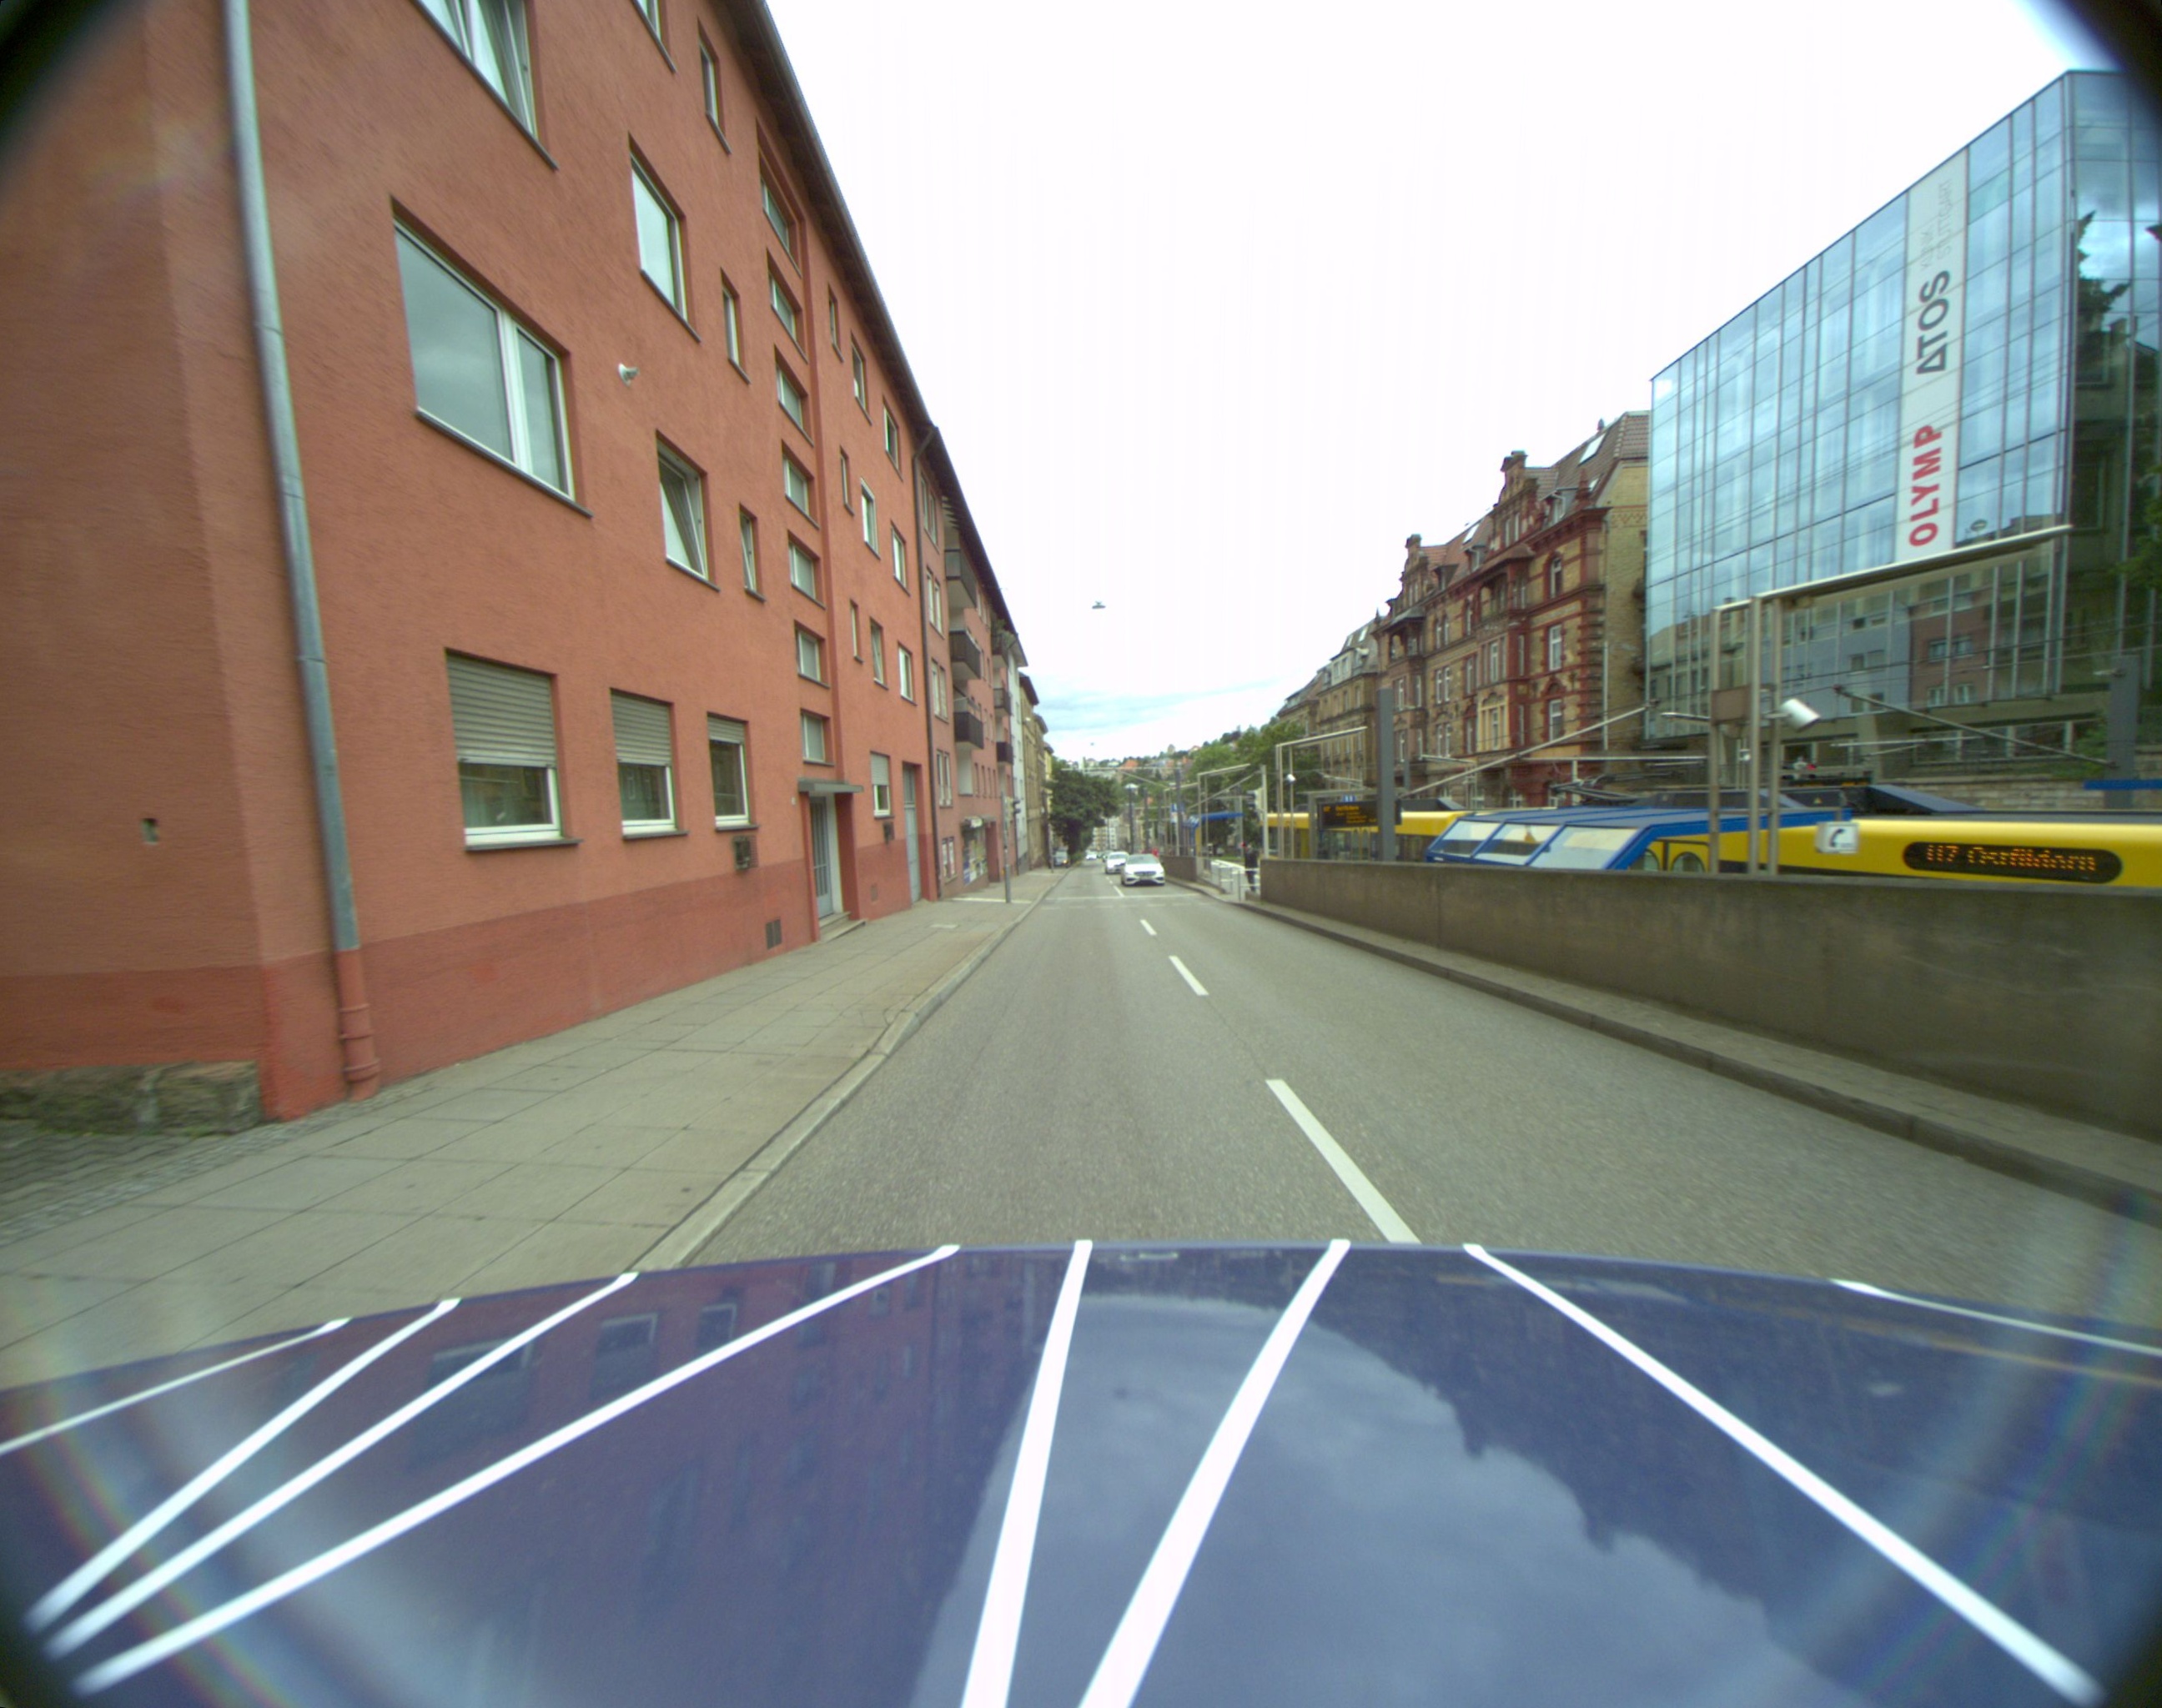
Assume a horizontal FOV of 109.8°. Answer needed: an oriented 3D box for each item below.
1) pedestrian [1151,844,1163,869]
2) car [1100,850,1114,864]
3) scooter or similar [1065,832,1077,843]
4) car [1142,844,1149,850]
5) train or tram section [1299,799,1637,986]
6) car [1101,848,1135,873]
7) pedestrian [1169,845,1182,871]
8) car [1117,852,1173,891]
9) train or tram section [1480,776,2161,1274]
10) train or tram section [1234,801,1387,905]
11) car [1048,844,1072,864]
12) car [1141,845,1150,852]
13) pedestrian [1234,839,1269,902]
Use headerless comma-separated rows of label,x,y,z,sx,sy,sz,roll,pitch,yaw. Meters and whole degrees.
pedestrian,5.296,0.178,53.103,0.680,1.670,0.685,-3,1,-2
car,3.650,0.399,107.225,1.881,1.727,4.000,-2,0,2
scooter or similar,-1.104,-1.777,82.024,1.199,1.266,0.629,1,1,-8
car,21.439,-2.398,252.806,1.998,2.002,4.000,-2,0,2
train or tram section,9.067,0.346,20.448,2.957,3.453,12.210,-2,4,1
car,2.492,0.450,52.488,1.998,1.479,4.229,-5,0,0
pedestrian,6.400,0.276,51.340,0.623,1.685,0.660,-3,1,-9
car,2.848,0.739,34.785,1.999,1.390,4.228,-4,2,-2
train or tram section,8.982,1.006,8.275,2.957,3.464,12.213,-2,3,1
train or tram section,9.291,-0.323,32.749,2.956,3.524,12.392,-2,3,1
car,-1.912,-0.020,69.785,1.862,1.701,4.308,-1,0,2
car,20.408,-1.727,239.209,1.999,2.002,3.998,-3,0,-5
pedestrian,5.020,0.476,22.384,0.817,1.767,0.803,-3,1,4
